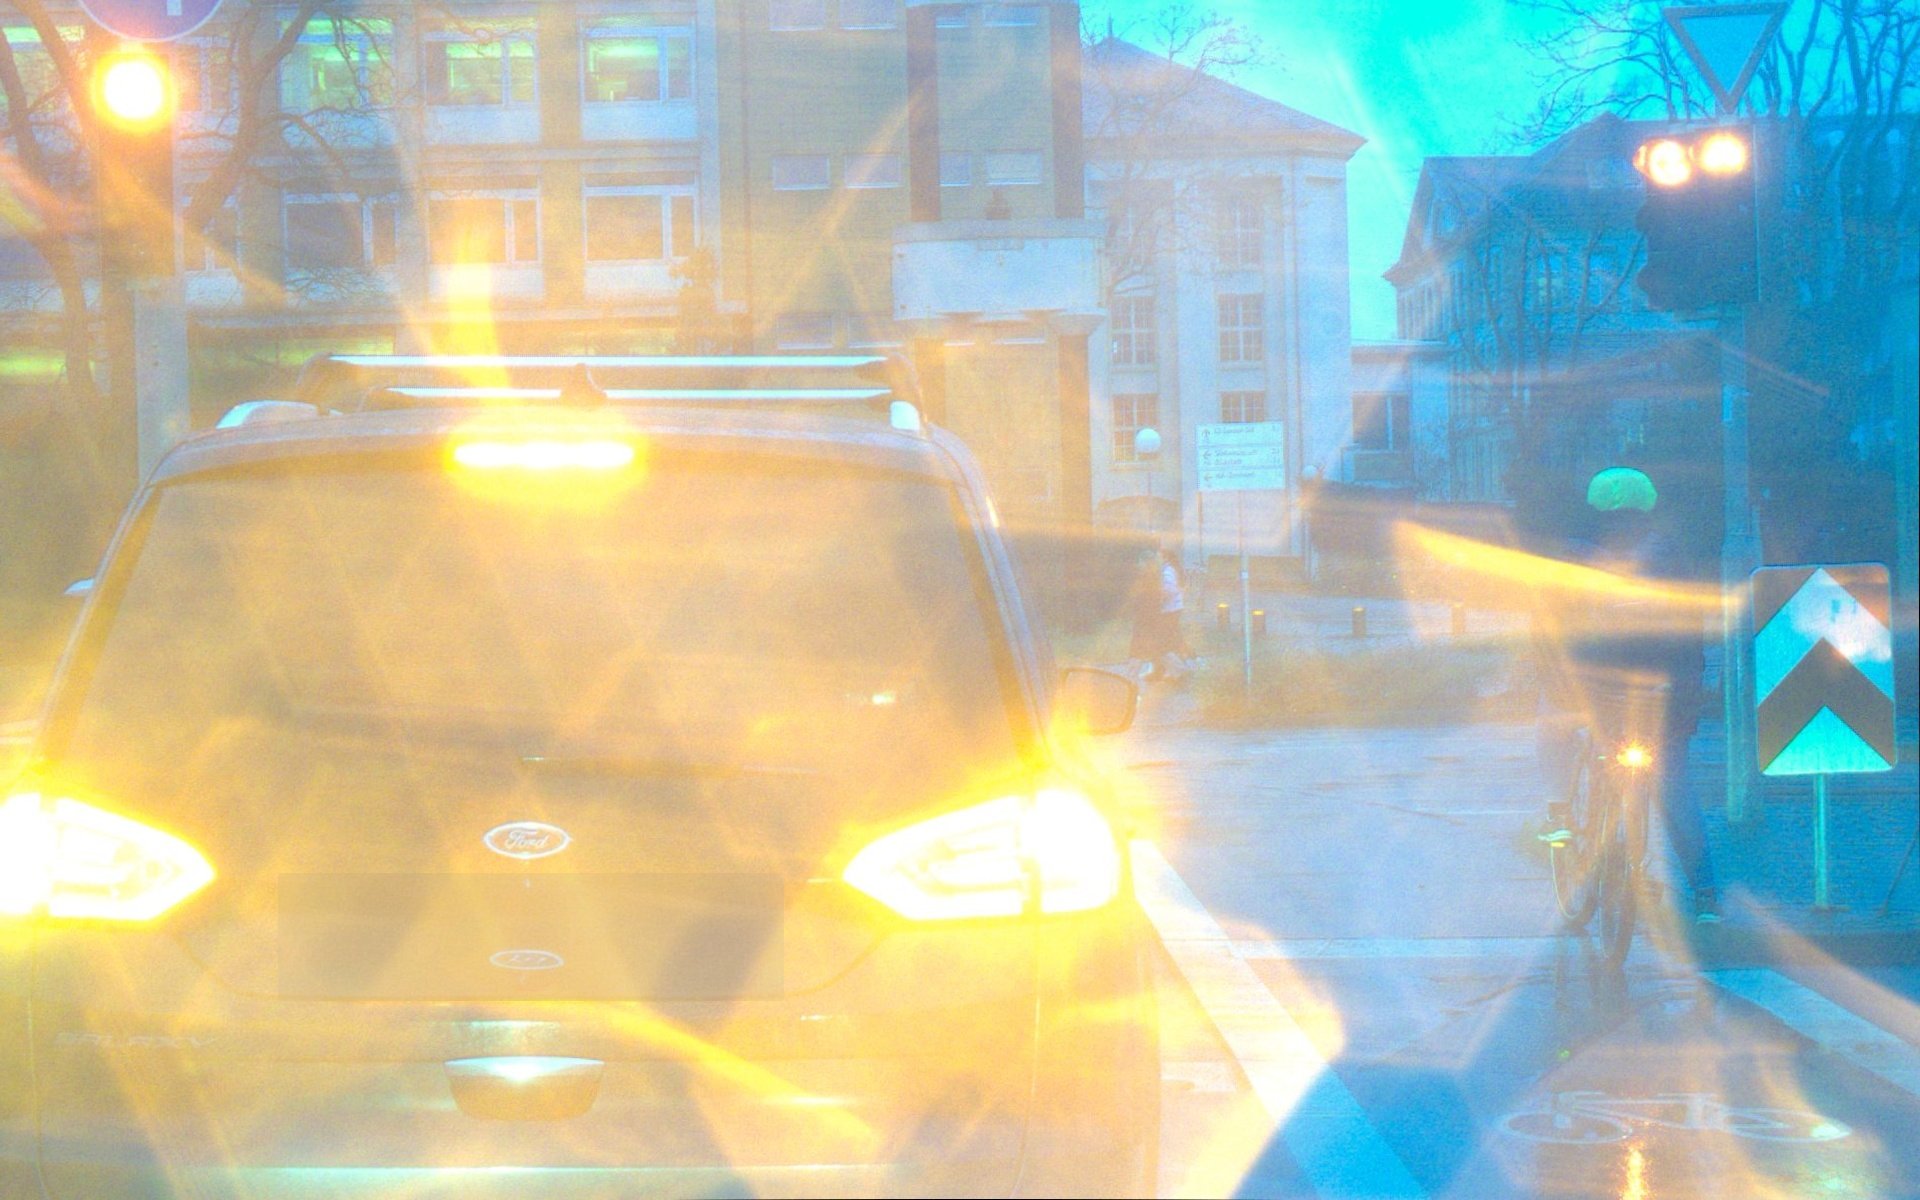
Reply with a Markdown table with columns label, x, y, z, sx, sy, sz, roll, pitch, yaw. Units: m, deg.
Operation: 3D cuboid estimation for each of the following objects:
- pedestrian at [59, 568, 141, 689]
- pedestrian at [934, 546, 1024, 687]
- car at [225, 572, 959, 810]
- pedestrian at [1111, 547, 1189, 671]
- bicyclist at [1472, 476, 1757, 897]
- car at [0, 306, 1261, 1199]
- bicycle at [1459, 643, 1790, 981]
| label | x | y | z | sx | sy | sz | roll | pitch | yaw |
| --- | --- | --- | --- | --- | --- | --- | --- | --- | --- |
| pedestrian | -11.871 | 0.392 | 47.465 | 0.760 | 1.622 | 0.721 | -2 | 1 | 20 |
| pedestrian | 0.251 | 0.205 | 45.109 | 0.997 | 1.793 | 0.919 | -2 | 1 | 9 |
| car | -2.487 | 0.612 | 23.655 | 4.658 | 1.472 | 1.810 | -2 | 0 | 11 |
| pedestrian | 2.434 | 0.111 | 43.986 | 0.924 | 1.527 | 1.043 | -2 | 1 | 4 |
| bicyclist | 2.348 | 0.294 | 12.460 | 0.783 | 1.448 | 1.134 | 1 | 0 | -1 |
| car | -0.632 | 0.491 | 6.565 | 1.993 | 1.783 | 4.000 | 1 | 1 | -1 |
| bicycle | 2.351 | 0.716 | 12.410 | 0.783 | 1.071 | 1.957 | 1 | 1 | -1 |
